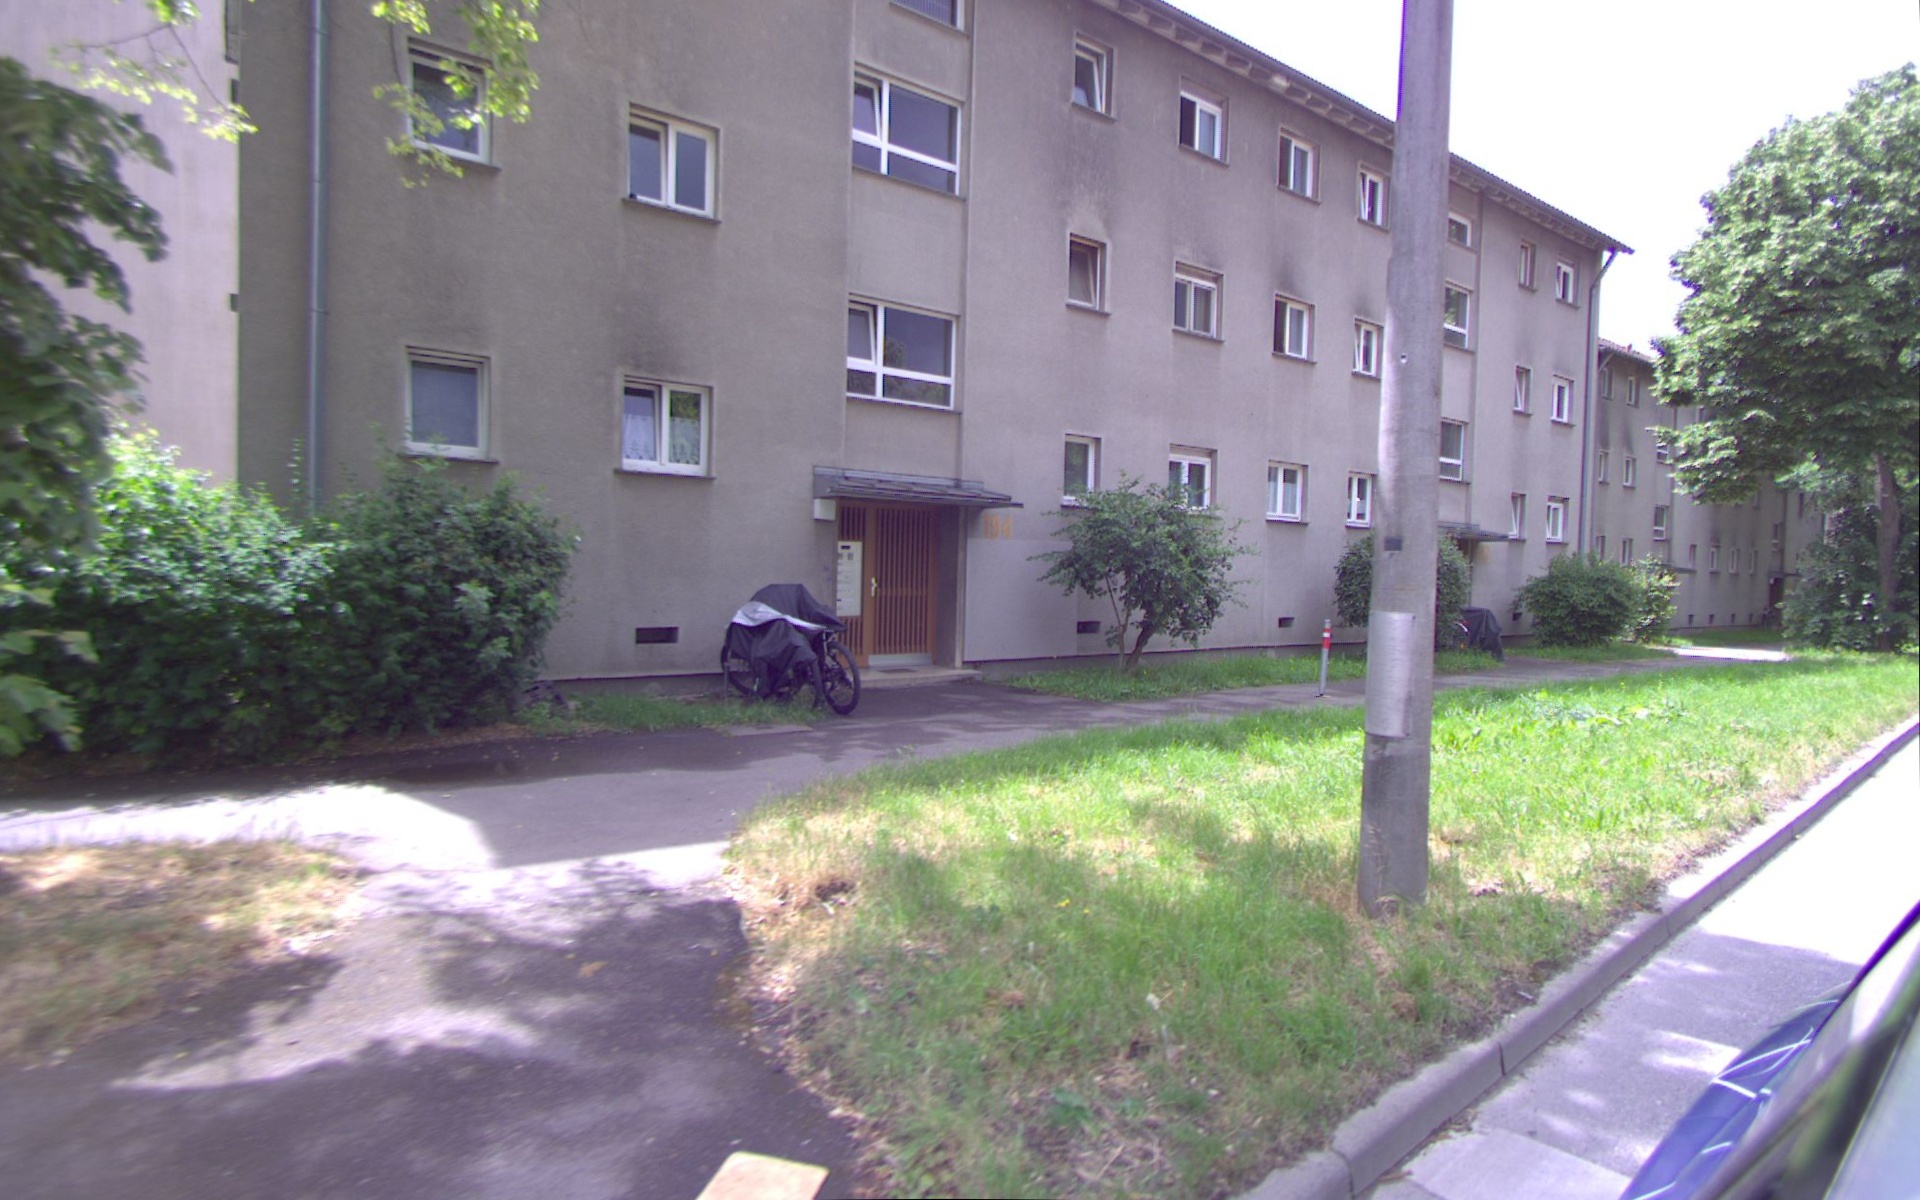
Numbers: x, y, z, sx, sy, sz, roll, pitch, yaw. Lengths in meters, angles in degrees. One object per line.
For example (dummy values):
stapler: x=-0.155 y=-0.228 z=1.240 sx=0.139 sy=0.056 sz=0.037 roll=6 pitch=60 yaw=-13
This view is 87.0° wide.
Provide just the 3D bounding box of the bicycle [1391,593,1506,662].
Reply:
bicycle: x=8.614 y=0.456 z=17.902 sx=0.446 sy=1.098 sz=1.804 roll=1 pitch=2 yaw=-36

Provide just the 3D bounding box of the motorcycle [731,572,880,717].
motorcycle: x=-1.654 y=0.384 z=10.453 sx=0.667 sy=1.298 sz=2.213 roll=0 pitch=2 yaw=-33

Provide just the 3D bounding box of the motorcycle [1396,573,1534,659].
motorcycle: x=9.228 y=0.258 z=18.578 sx=0.997 sy=1.447 sz=2.006 roll=1 pitch=2 yaw=-31

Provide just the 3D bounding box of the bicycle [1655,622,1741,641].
bicycle: x=24.274 y=1.017 z=33.327 sx=0.660 sy=0.514 sz=2.214 roll=0 pitch=1 yaw=-31

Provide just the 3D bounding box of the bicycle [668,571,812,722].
bicycle: x=-2.238 y=0.386 z=10.066 sx=0.667 sy=1.298 sz=2.176 roll=0 pitch=2 yaw=-33

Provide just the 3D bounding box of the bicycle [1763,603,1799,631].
bicycle: x=34.304 y=0.702 z=42.320 sx=0.430 sy=1.094 sz=1.747 roll=0 pitch=1 yaw=13
